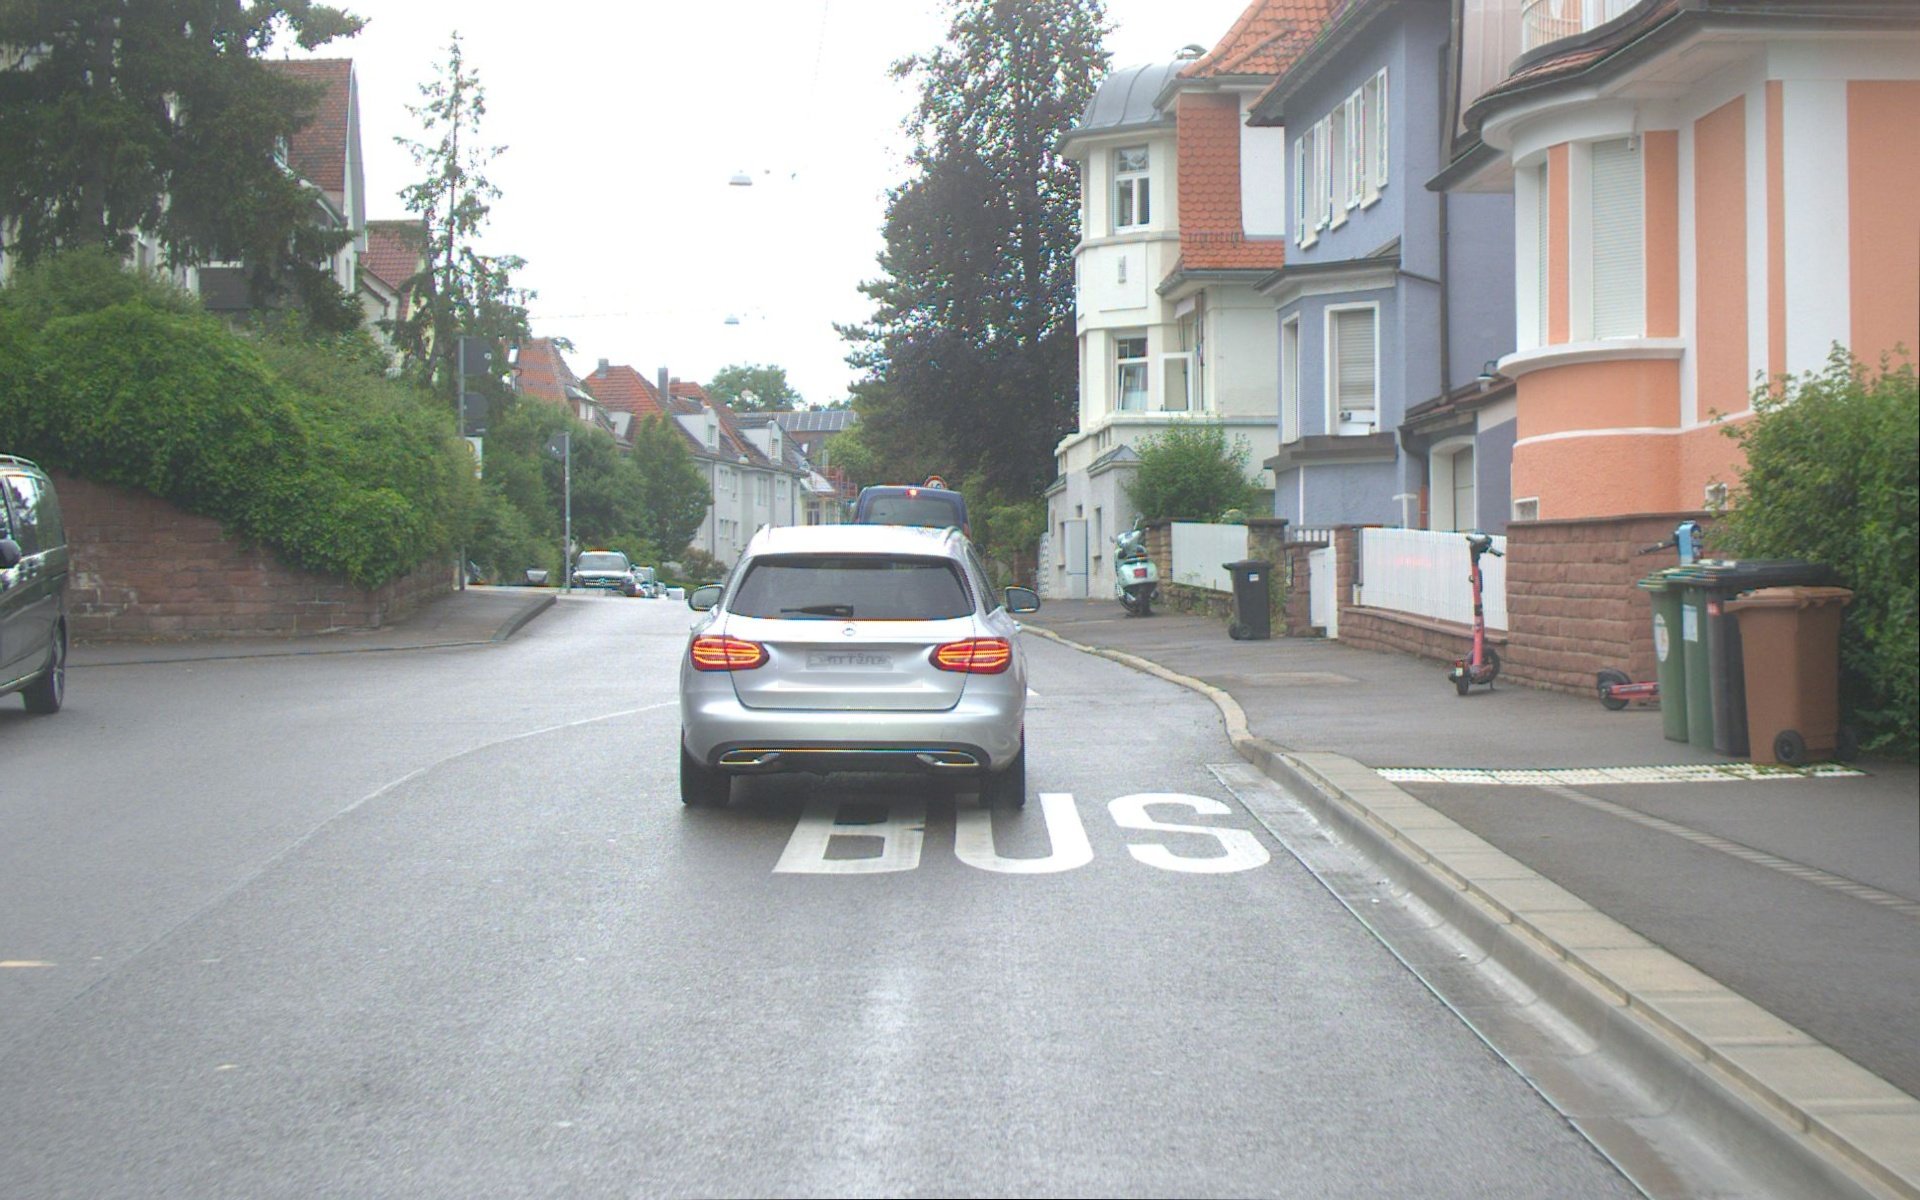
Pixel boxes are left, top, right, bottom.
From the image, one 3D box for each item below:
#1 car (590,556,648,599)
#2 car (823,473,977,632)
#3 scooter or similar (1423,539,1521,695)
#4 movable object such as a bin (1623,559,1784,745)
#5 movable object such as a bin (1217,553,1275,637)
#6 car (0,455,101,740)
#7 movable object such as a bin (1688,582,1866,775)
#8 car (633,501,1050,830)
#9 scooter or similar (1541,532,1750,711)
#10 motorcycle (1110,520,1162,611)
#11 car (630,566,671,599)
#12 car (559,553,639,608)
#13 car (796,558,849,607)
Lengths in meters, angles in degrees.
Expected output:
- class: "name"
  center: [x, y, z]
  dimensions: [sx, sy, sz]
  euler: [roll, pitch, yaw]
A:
- class: "car"
  center: [-11.111, -0.748, 112.134]
  dimensions: [1.757, 1.309, 3.684]
  euler: [0, 2, -4]
- class: "car"
  center: [-0.740, -0.631, 43.159]
  dimensions: [1.824, 1.876, 4.096]
  euler: [-1, 2, -1]
- class: "scooter or similar"
  center: [4.155, 0.127, 27.961]
  dimensions: [0.693, 1.220, 1.299]
  euler: [1, 1, 5]
- class: "movable object such as a bin"
  center: [4.317, 0.292, 20.008]
  dimensions: [0.711, 1.026, 0.757]
  euler: [-2, 2, -4]
- class: "movable object such as a bin"
  center: [3.289, -0.061, 39.615]
  dimensions: [0.549, 0.932, 0.634]
  euler: [-3, 1, -3]
- class: "car"
  center: [-7.542, -0.084, 24.315]
  dimensions: [2.128, 1.853, 5.595]
  euler: [1, 1, -7]
- class: "movable object such as a bin"
  center: [4.288, 0.403, 18.056]
  dimensions: [0.569, 0.965, 0.670]
  euler: [1, 2, -35]
- class: "car"
  center: [-0.637, 0.263, 18.761]
  dimensions: [1.982, 1.548, 4.298]
  euler: [1, 1, -2]
- class: "scooter or similar"
  center: [4.833, 0.152, 24.246]
  dimensions: [1.260, 1.220, 0.694]
  euler: [-2, 0, 30]
- class: "motorcycle"
  center: [2.518, -0.507, 49.339]
  dimensions: [0.582, 1.257, 2.331]
  euler: [-2, 1, 0]
- class: "car"
  center: [-12.962, -0.737, 144.060]
  dimensions: [1.636, 1.309, 3.476]
  euler: [0, 2, -4]
- class: "car"
  center: [-10.222, -0.559, 97.653]
  dimensions: [2.116, 1.466, 4.018]
  euler: [1, 1, -4]
- class: "car"
  center: [-7.272, -0.934, 181.995]
  dimensions: [2.467, 2.391, 4.000]
  euler: [-3, 1, 1]
